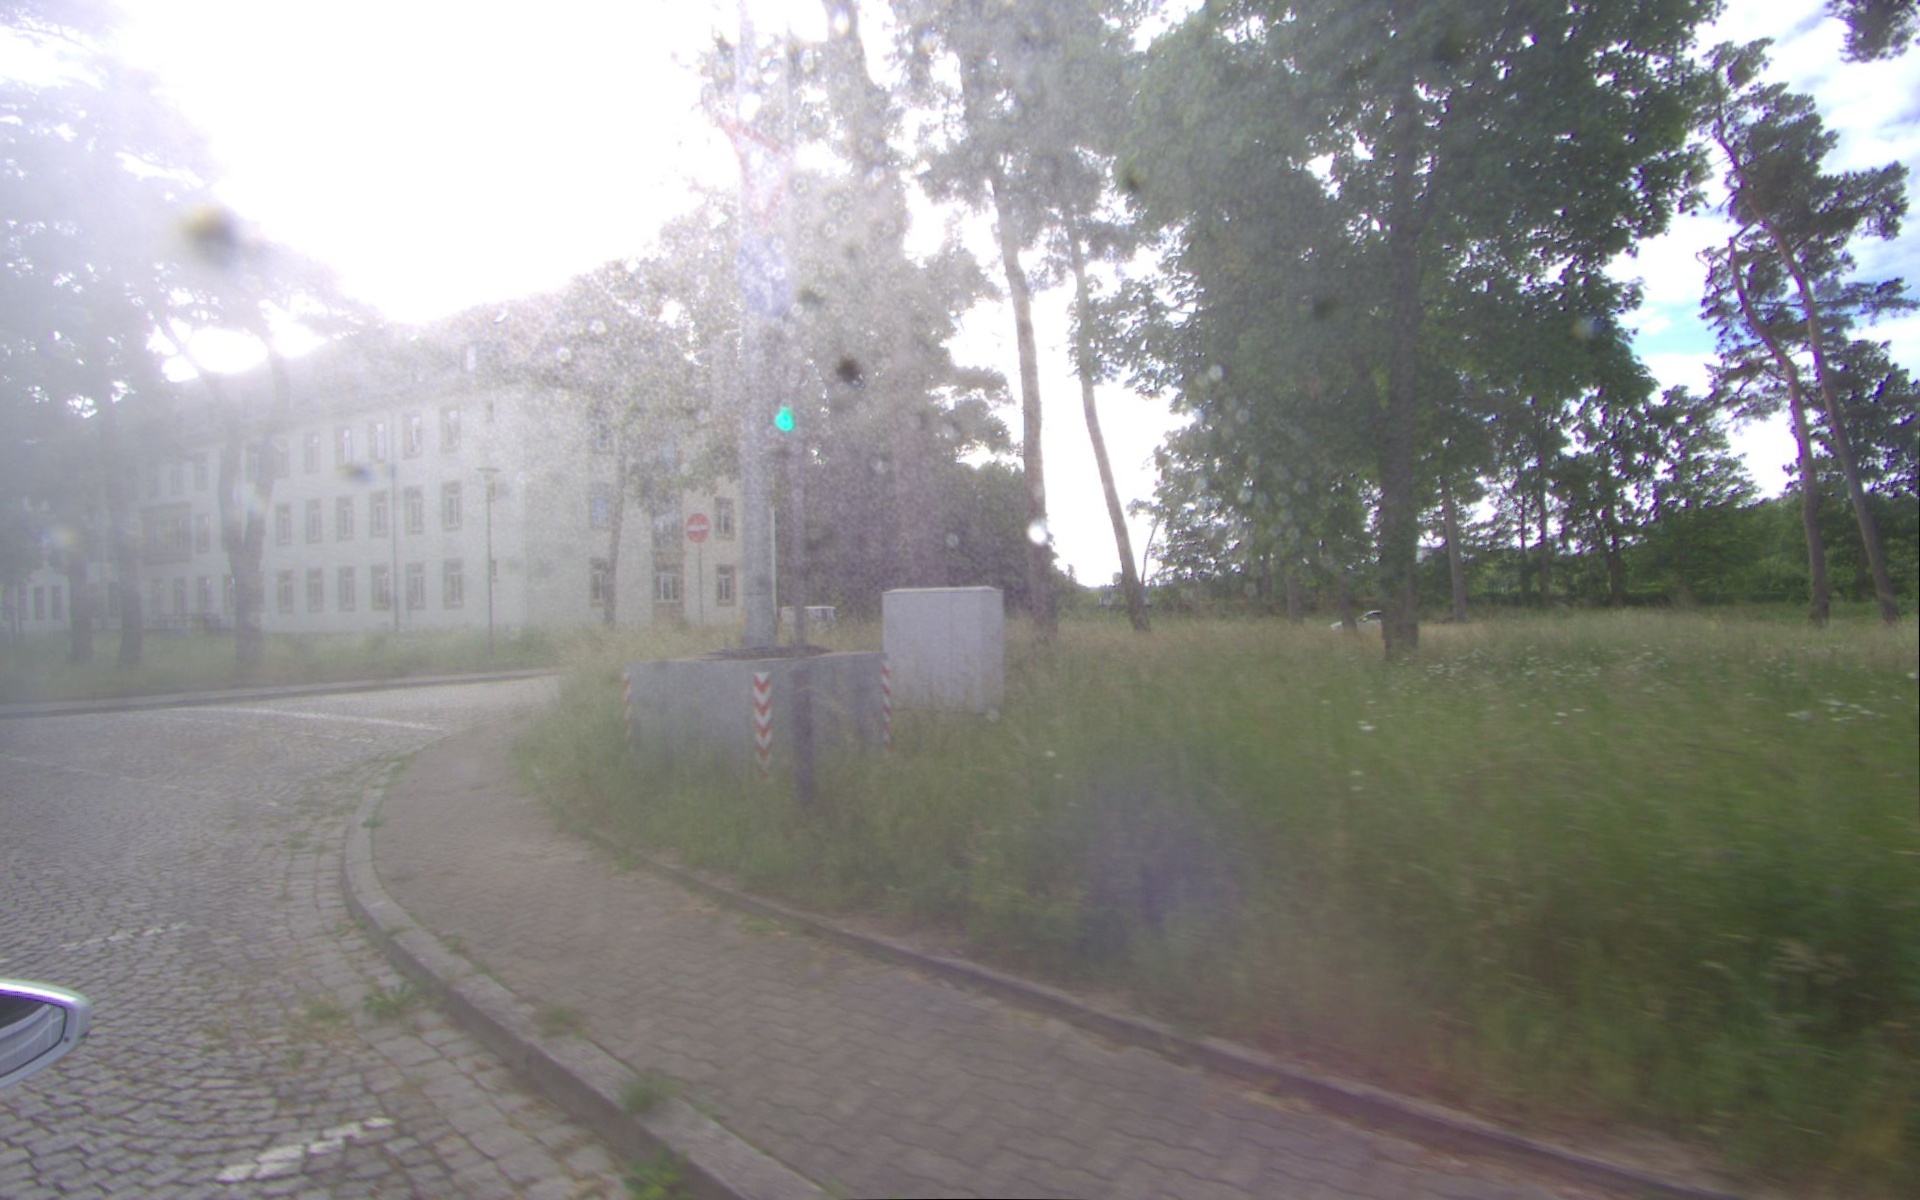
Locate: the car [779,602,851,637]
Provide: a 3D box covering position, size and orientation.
[{"bbox_3d":[-10.053,1.333,69.950,2.181,2.318,5.171,-1,-1,31],"label":"car"}]

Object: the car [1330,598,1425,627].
[{"bbox_3d":[21.223,0.649,51.044,4.176,1.434,1.887,-1,0,11],"label":"car"}]
